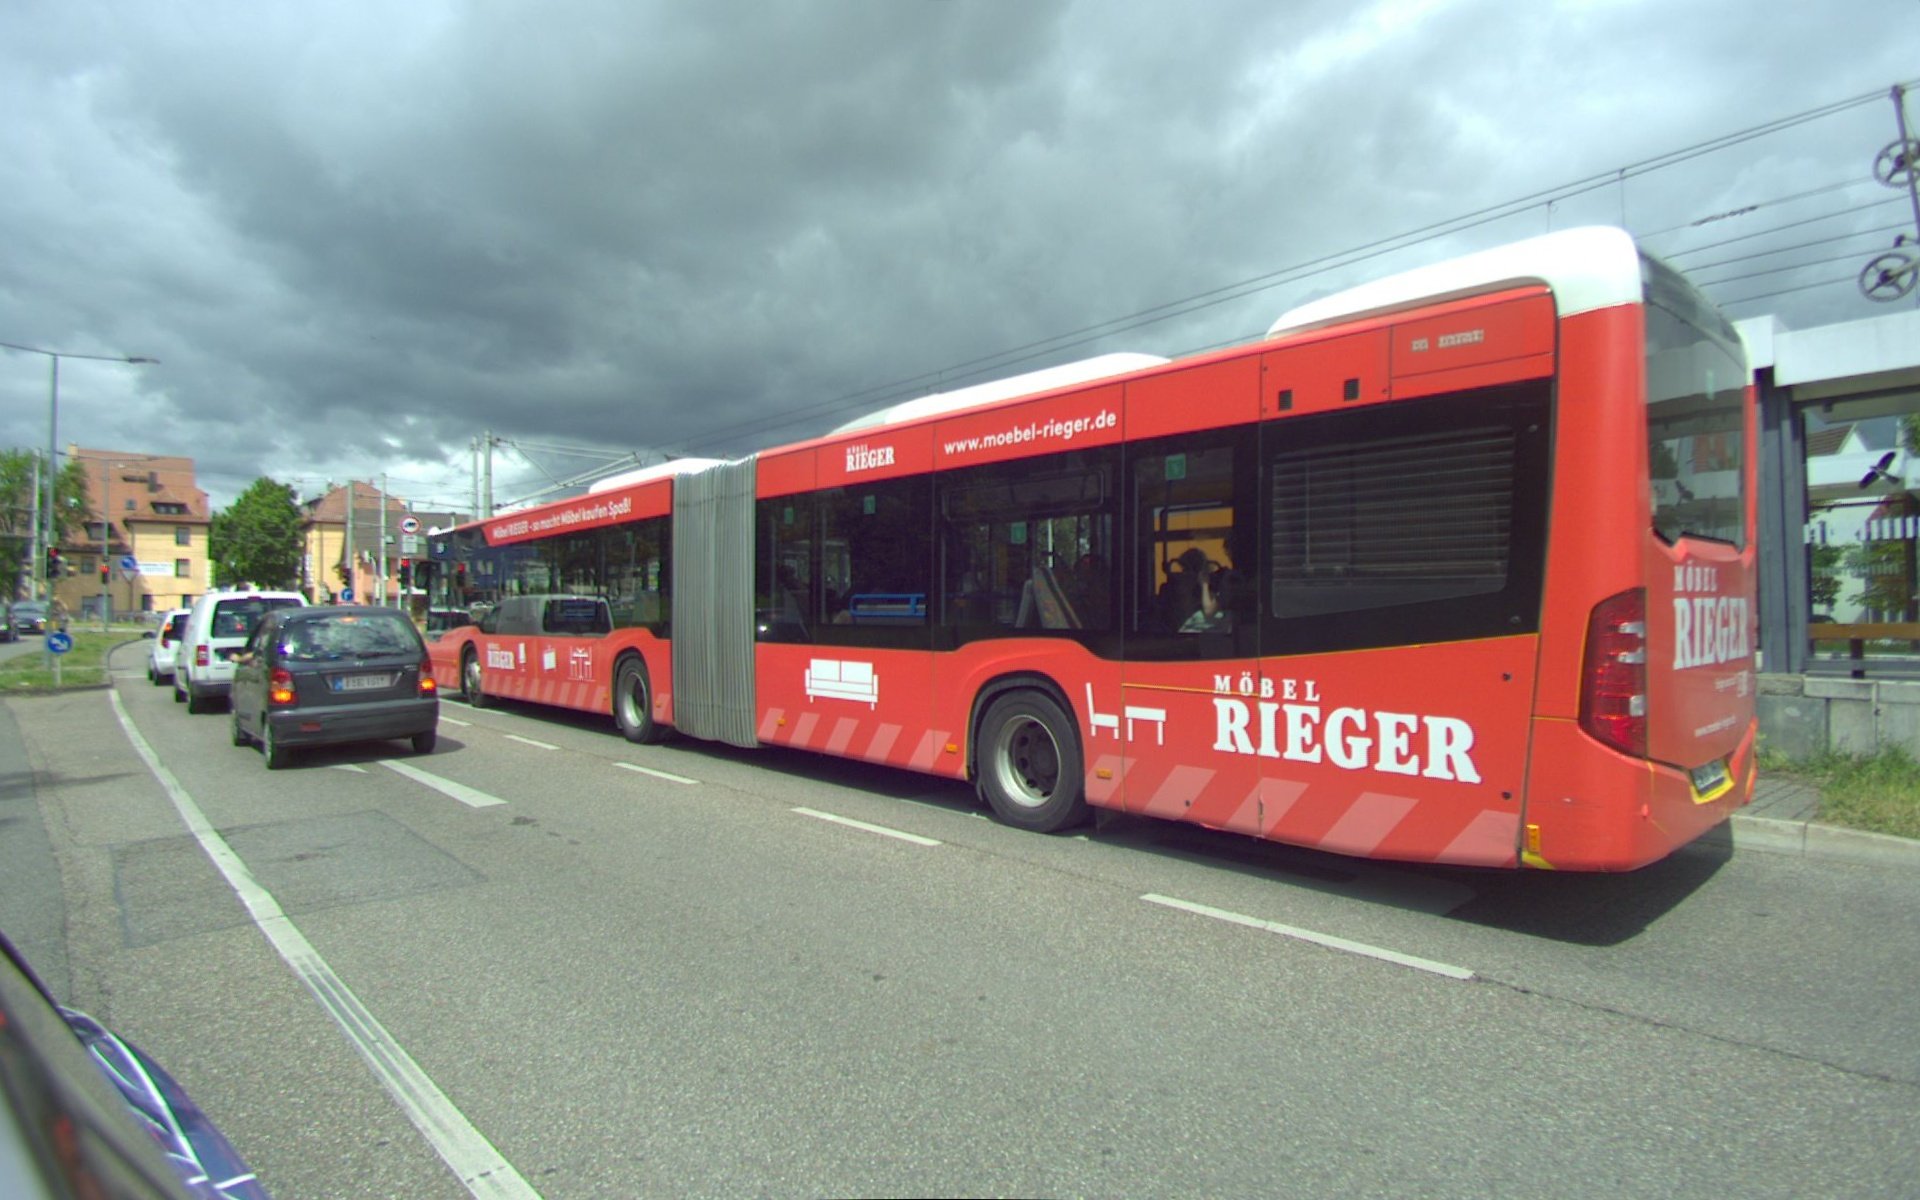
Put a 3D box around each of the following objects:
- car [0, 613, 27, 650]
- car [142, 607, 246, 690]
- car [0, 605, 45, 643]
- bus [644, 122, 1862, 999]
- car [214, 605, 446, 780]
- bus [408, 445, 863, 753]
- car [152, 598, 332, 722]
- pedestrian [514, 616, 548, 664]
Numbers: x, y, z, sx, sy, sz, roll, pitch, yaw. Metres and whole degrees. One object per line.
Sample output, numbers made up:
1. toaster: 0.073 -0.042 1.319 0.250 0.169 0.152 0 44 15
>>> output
1. car: -39.928 1.318 41.562 1.852 1.440 4.010 0 -3 -35
2. car: -17.030 1.022 22.430 1.678 1.661 4.085 0 -1 -40
3. car: -45.355 1.169 48.469 4.421 1.662 1.971 -4 -3 44
4. bus: 0.775 -0.028 7.830 2.692 3.093 8.975 2 -3 -41
5. car: -6.989 0.864 11.066 1.511 1.563 3.737 -1 0 -42
6. bus: -5.377 0.049 14.848 2.692 3.133 9.717 1 -1 -41
7. car: -11.614 0.824 16.241 1.741 1.675 4.510 0 1 -44
8. pedestrian: -14.289 1.316 33.696 0.790 1.552 0.836 2 -2 -43
